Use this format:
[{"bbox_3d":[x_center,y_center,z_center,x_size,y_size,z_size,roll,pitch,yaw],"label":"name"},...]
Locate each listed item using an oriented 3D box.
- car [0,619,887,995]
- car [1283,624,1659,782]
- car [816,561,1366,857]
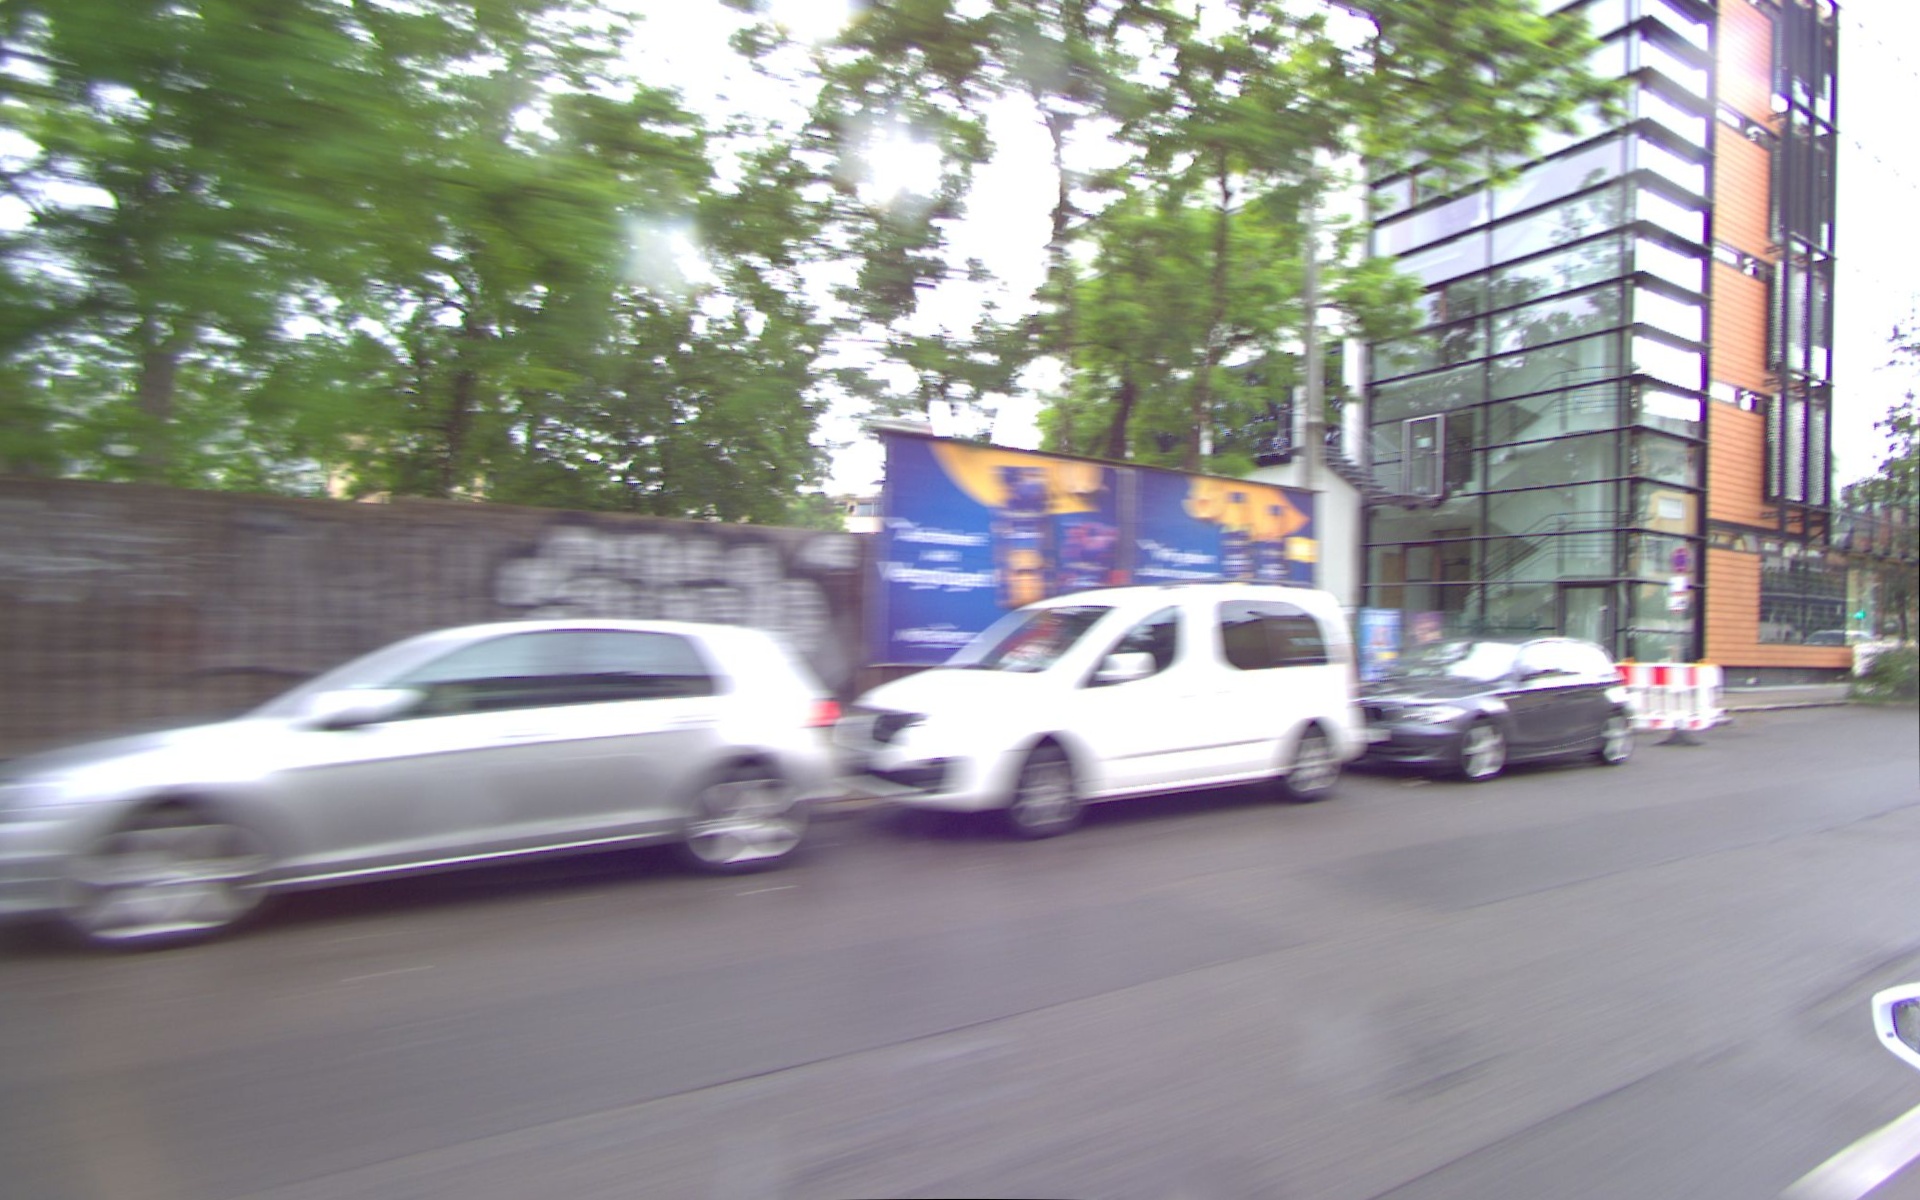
[{"bbox_3d":[-2.665,0.873,5.671,4.230,1.482,1.673,1,-2,-32],"label":"car"},{"bbox_3d":[5.559,0.972,10.763,4.298,1.394,1.713,1,-2,-34],"label":"car"},{"bbox_3d":[1.167,0.734,8.075,4.295,1.824,1.714,1,-2,-32],"label":"car"}]
